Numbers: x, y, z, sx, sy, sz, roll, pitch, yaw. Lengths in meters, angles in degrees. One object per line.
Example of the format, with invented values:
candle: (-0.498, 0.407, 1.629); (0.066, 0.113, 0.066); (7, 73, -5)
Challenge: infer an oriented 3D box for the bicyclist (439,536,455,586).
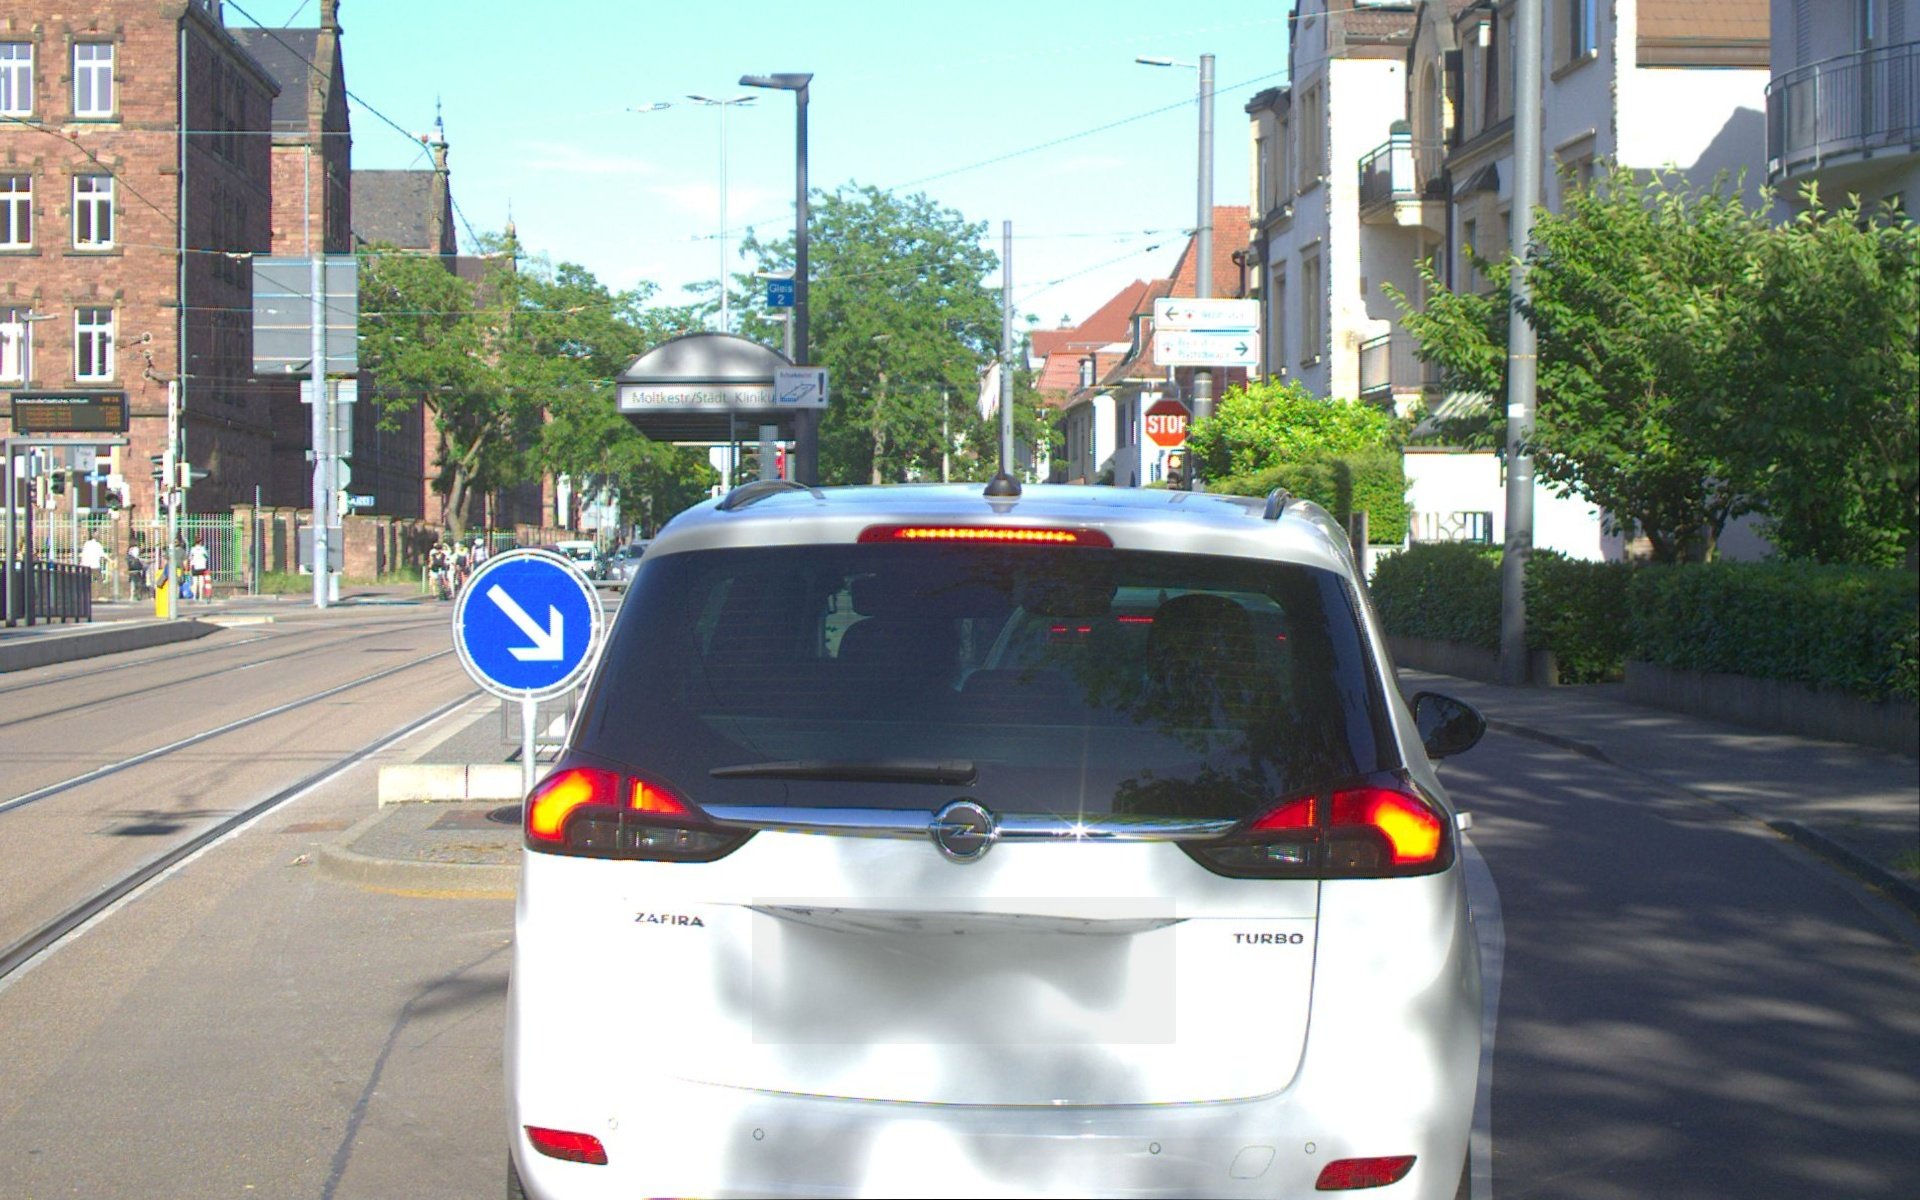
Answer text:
bicyclist: (-15.893, -1.208, 106.569); (0.444, 1.548, 0.496); (0, 1, -4)

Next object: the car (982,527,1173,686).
car: (1.179, 0.031, 36.184); (1.830, 1.574, 4.010); (0, 1, -1)

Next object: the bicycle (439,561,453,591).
bicycle: (-15.929, -0.744, 106.619); (0.344, 0.946, 0.997); (1, 0, -4)

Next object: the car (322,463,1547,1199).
car: (0.142, 0.587, 7.607); (1.994, 1.639, 3.992); (1, 1, 6)

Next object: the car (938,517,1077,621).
car: (0.669, -0.481, 51.764); (1.993, 1.497, 4.000); (0, 1, -1)

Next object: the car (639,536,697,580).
car: (-11.082, -1.602, 130.658); (1.993, 1.623, 4.001); (0, 1, -2)

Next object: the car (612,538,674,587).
car: (-10.533, -1.259, 114.421); (1.993, 1.623, 4.001); (0, 1, -5)

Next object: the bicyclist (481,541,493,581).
bicyclist: (-15.349, -1.266, 111.661); (0.359, 1.299, 0.398); (0, 1, -4)

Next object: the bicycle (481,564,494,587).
bicycle: (-15.351, -0.803, 111.672); (0.344, 0.722, 0.997); (1, 1, -4)

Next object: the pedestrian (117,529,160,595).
pedestrian: (-21.161, -0.987, 88.552); (0.843, 1.686, 1.029); (1, 0, -1)

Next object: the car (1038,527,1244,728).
car: (1.498, 0.184, 29.260); (1.637, 1.595, 3.854); (0, 1, 2)

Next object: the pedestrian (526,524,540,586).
pedestrian: (-13.907, -1.464, 111.930); (0.444, 2.007, 0.496); (0, 1, -4)

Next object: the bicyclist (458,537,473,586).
bicyclist: (-15.689, -1.231, 109.154); (0.444, 1.548, 0.496); (0, 1, -4)

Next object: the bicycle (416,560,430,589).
bicycle: (-17.987, -0.857, 115.144); (0.344, 0.946, 0.997); (1, 0, -4)

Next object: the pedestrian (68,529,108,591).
pedestrian: (-22.547, -1.038, 88.885); (0.802, 1.583, 0.935); (1, 0, -3)

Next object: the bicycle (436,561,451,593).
bicycle: (-15.482, -0.702, 103.086); (0.344, 0.946, 1.160); (1, 0, -4)

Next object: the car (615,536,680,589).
car: (-9.736, -1.177, 107.315); (1.993, 1.623, 4.001); (0, 1, -5)

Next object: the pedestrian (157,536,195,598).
pedestrian: (-21.762, -0.904, 95.462); (0.735, 1.708, 0.705); (1, 0, 22)

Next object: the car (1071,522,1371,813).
car: (1.497, 0.336, 20.832); (1.637, 1.595, 3.854); (0, 1, 2)

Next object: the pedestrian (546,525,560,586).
pedestrian: (-13.288, -1.459, 112.260); (0.444, 2.007, 0.496); (0, 1, -4)

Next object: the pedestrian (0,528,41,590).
pedestrian: (-24.317, -1.059, 88.626); (0.932, 1.583, 0.804); (0, 1, -44)

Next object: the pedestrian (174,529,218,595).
pedestrian: (-19.767, -0.979, 88.966); (0.895, 1.678, 1.029); (1, 0, -1)

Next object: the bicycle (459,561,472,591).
bicycle: (-15.698, -0.766, 109.168); (0.344, 0.946, 0.997); (1, 0, -4)

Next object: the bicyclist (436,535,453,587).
bicyclist: (-15.474, -1.171, 103.287); (0.444, 1.548, 0.743); (0, 1, -4)

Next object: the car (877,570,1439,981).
car: (0.750, 0.594, 13.987); (1.953, 1.392, 4.000); (0, 1, 2)

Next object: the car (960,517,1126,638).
car: (1.023, -0.312, 44.304); (1.993, 1.497, 4.000); (0, 1, -1)

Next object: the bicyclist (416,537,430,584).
bicyclist: (-17.982, -1.322, 115.100); (0.444, 1.548, 0.496); (0, 1, -4)

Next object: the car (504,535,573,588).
car: (-13.116, -1.213, 107.091); (1.993, 1.623, 4.001); (0, 1, -5)
